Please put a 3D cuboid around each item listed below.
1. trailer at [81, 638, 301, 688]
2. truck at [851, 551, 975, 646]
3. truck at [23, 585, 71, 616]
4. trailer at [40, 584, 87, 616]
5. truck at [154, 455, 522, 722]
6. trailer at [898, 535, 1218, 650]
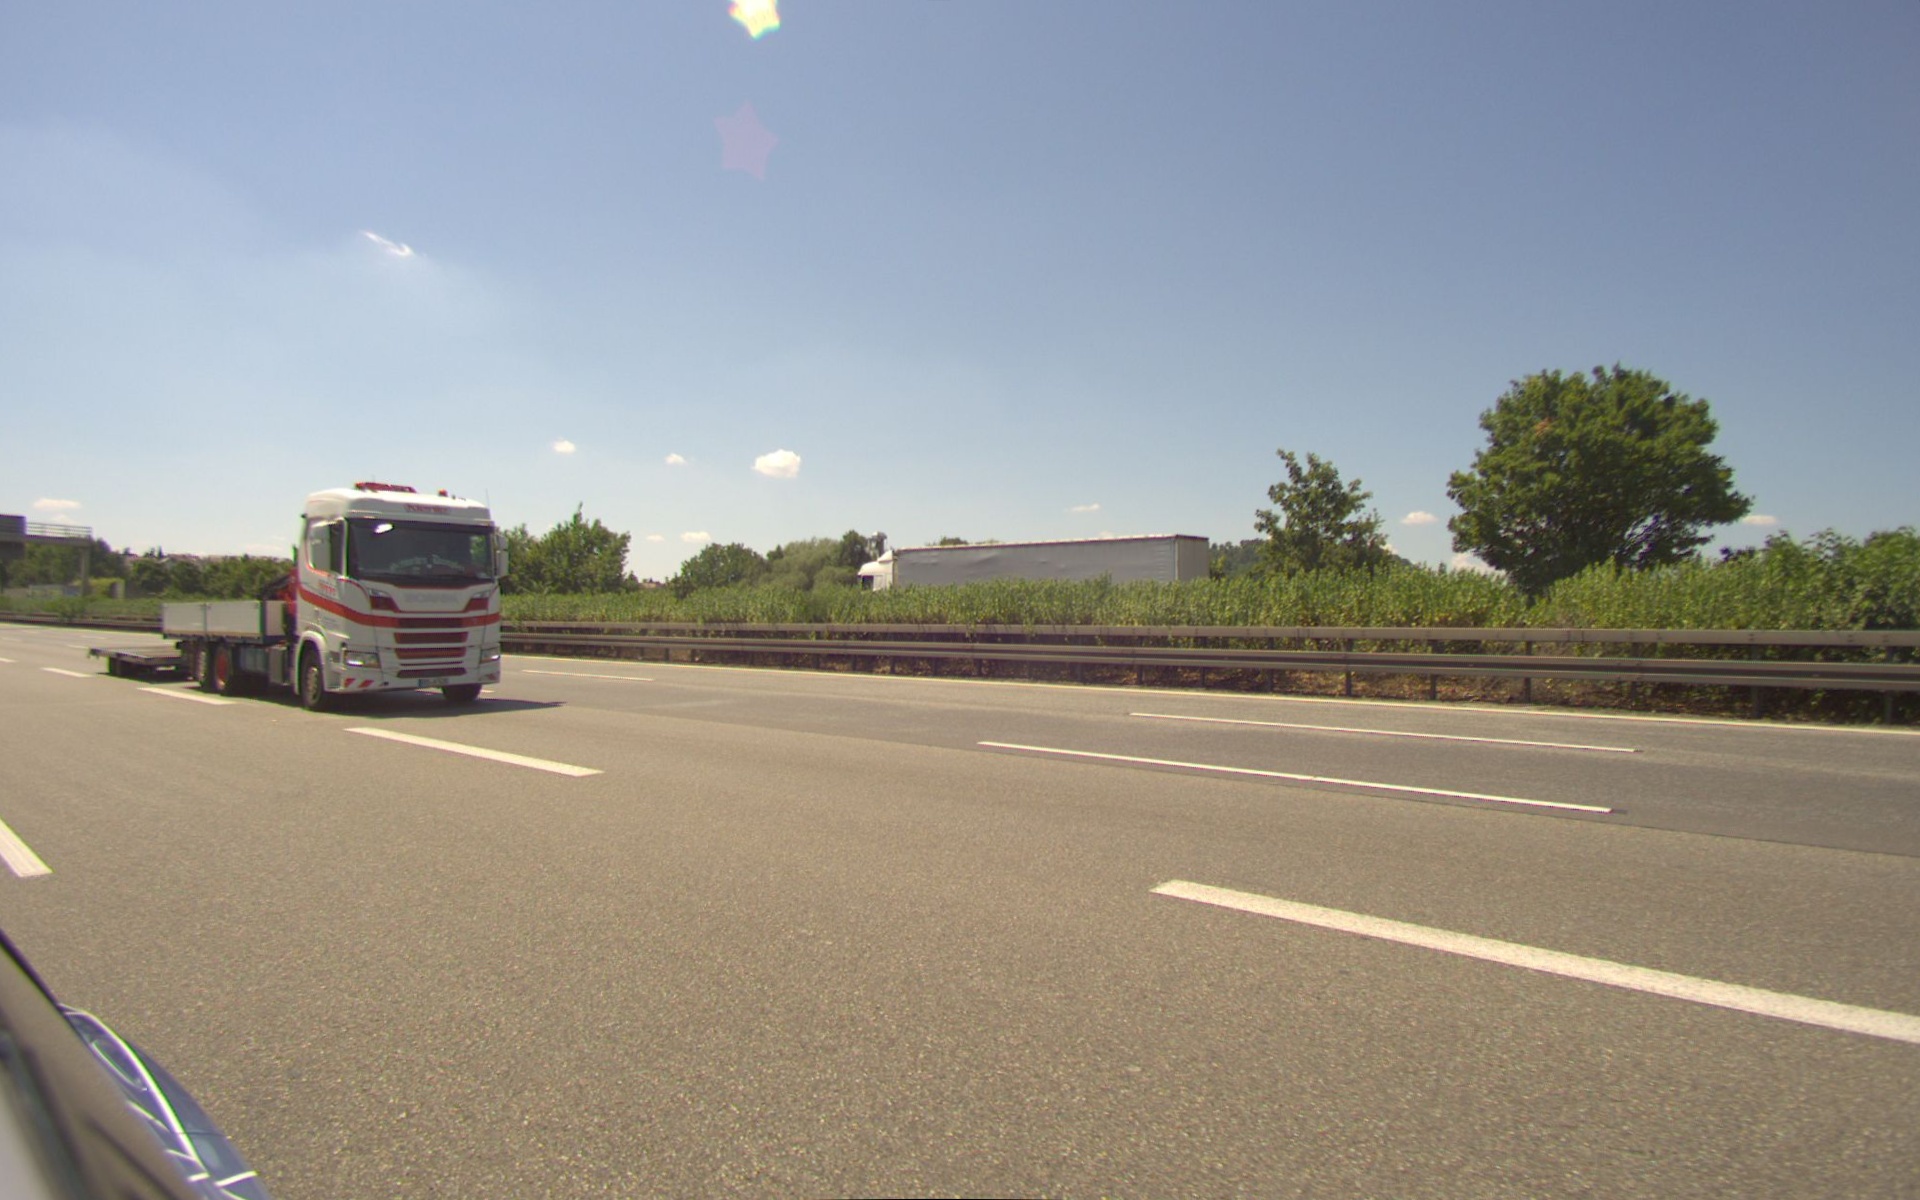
[{"bbox_3d":[-19.085,1.460,24.904,7.753,0.941,2.687,-1,-1,40],"label":"trailer"},{"bbox_3d":[-2.122,-0.006,44.971,5.162,3.977,2.512,-1,-1,40],"label":"truck"},{"bbox_3d":[-121.443,0.092,134.496,10.306,3.997,2.973,-1,-1,38],"label":"truck"},{"bbox_3d":[-113.970,0.061,128.616,8.646,3.997,2.895,-1,-1,38],"label":"trailer"},{"bbox_3d":[-12.088,-0.072,18.965,10.663,3.831,2.687,-1,-1,40],"label":"truck"},{"bbox_3d":[3.362,-0.147,40.405,13.708,3.977,2.512,-1,-1,40],"label":"trailer"}]
